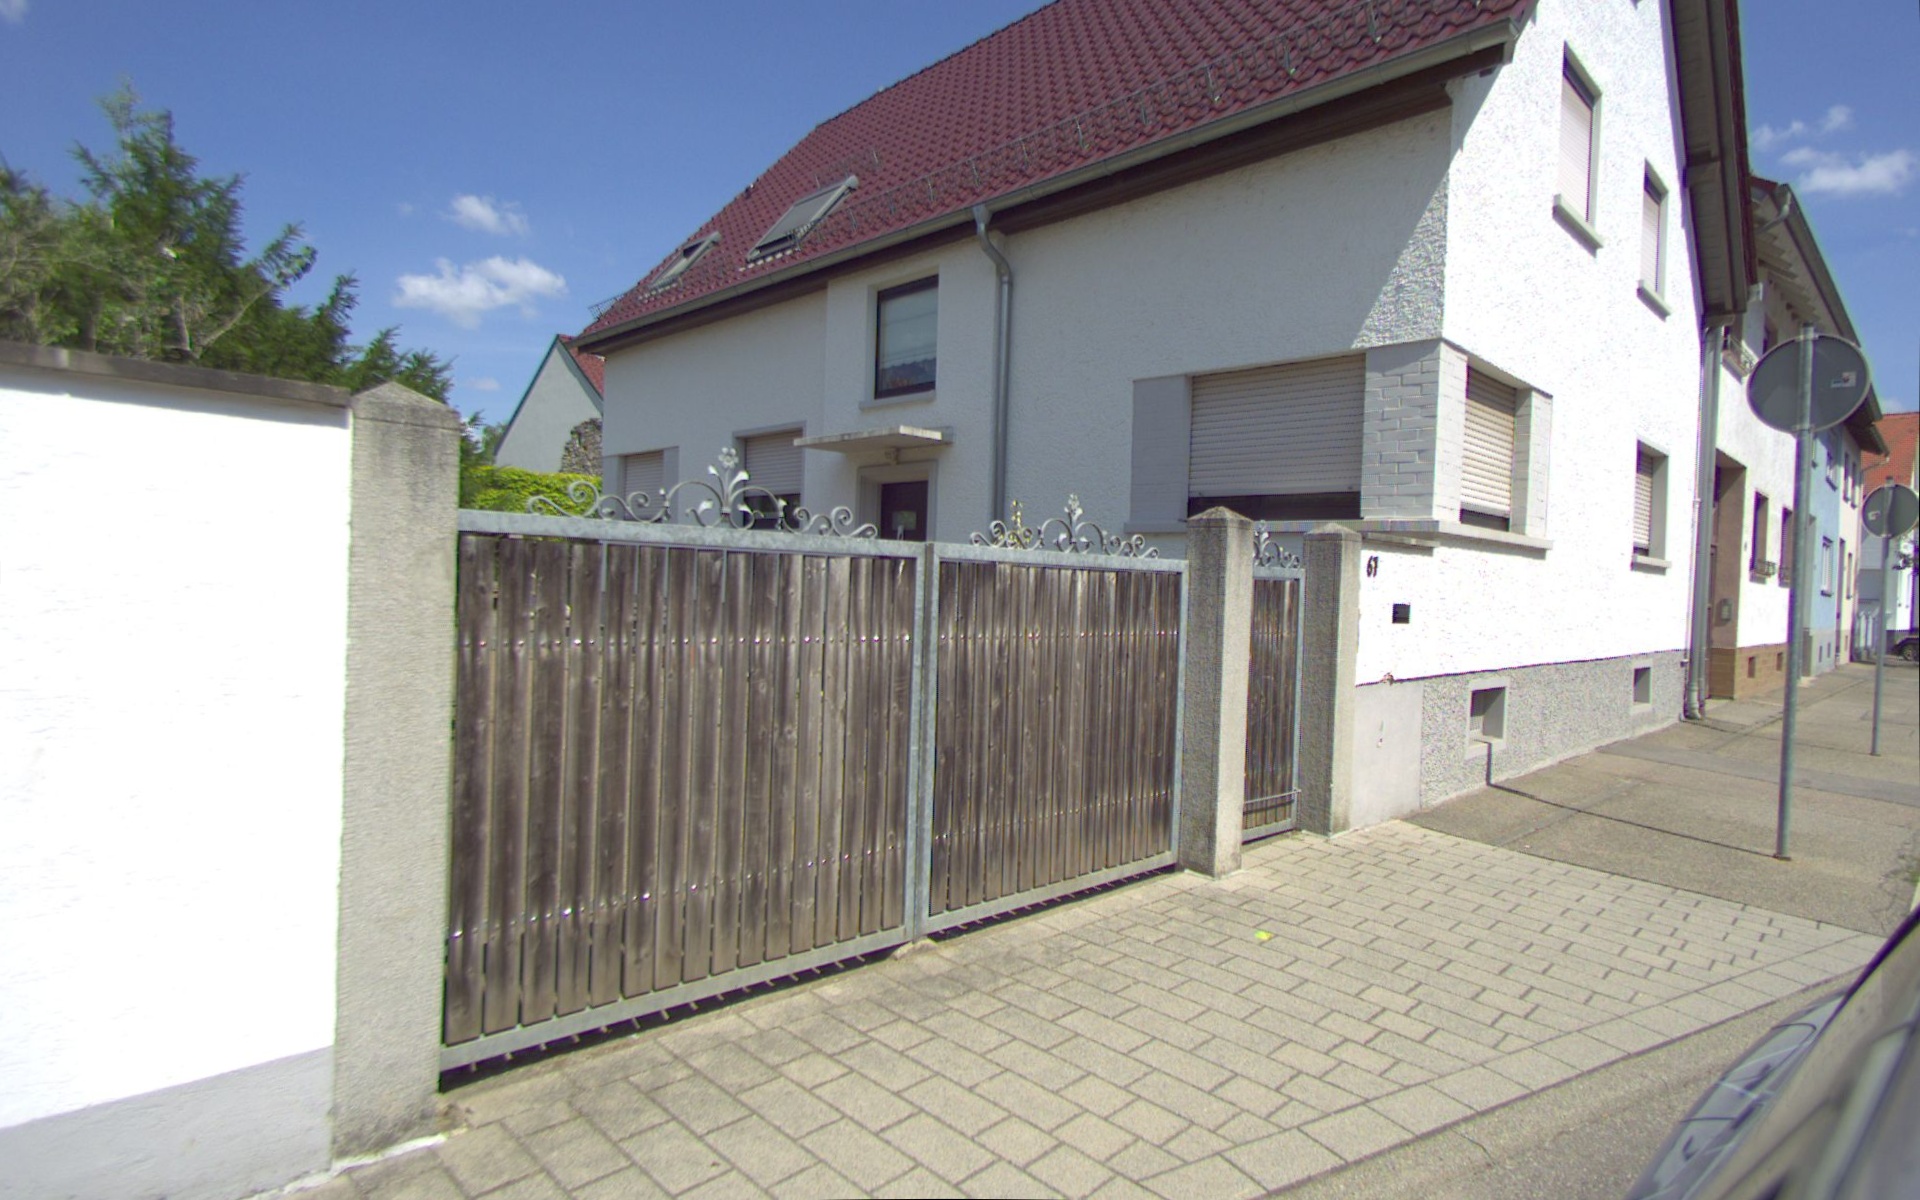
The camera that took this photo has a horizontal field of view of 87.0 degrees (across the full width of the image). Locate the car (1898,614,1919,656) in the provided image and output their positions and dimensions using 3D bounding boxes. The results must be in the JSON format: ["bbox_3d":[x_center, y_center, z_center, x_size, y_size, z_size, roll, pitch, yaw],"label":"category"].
[{"bbox_3d":[35.496,1.325,35.309,1.695,1.446,3.818,2,1,-37],"label":"car"}]
